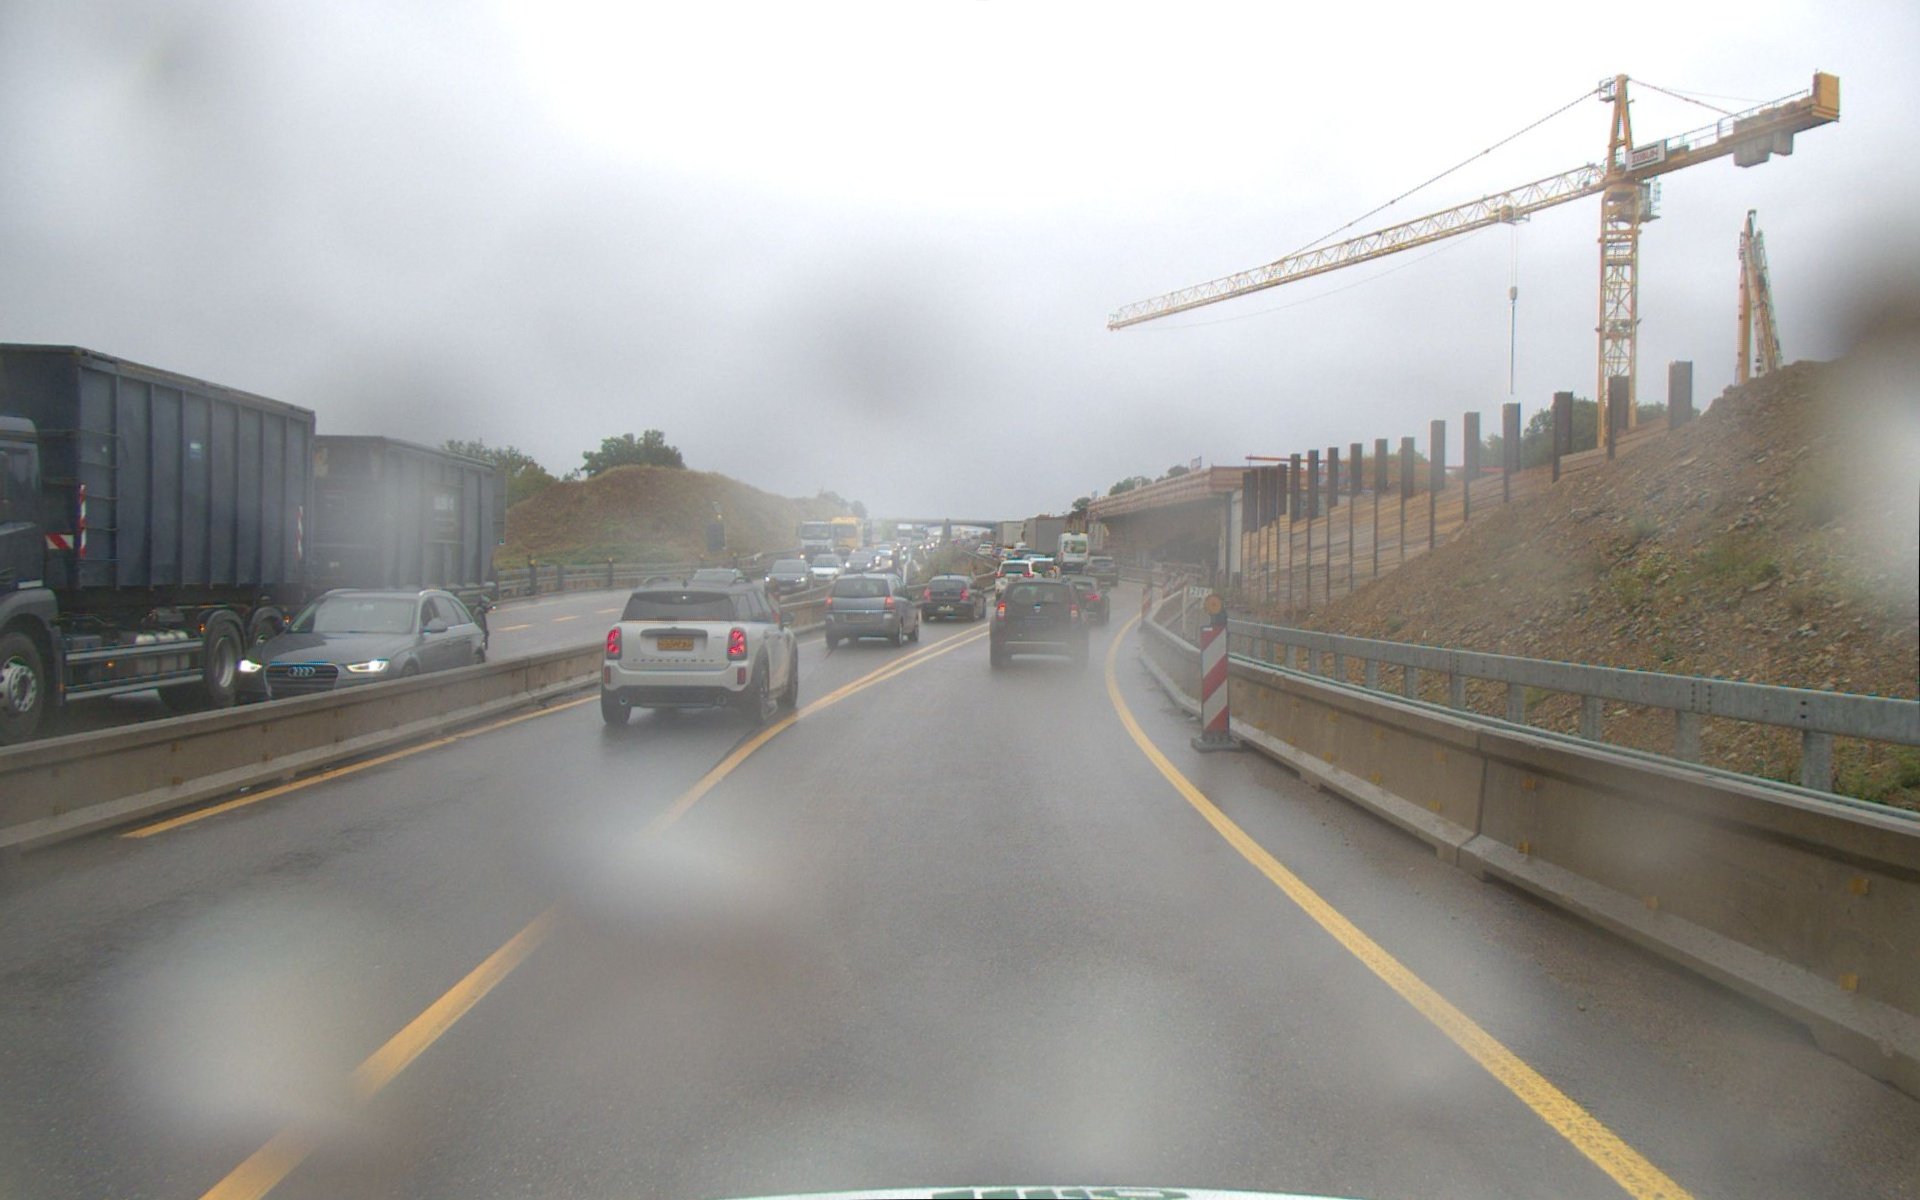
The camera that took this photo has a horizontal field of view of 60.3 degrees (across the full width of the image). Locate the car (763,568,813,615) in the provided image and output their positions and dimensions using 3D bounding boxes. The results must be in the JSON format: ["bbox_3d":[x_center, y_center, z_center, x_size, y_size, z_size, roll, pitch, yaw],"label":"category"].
[{"bbox_3d":[-7.373,-0.326,71.290,1.749,1.841,4.498,0,-2,-1],"label":"car"}]

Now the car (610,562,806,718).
[{"bbox_3d":[-2.844,0.473,19.525,1.779,1.628,4.305,0,-1,-2],"label":"car"}]

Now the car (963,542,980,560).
[{"bbox_3d":[1.417,-6.038,204.829,1.953,2.049,3.999,0,0,-1],"label":"car"}]

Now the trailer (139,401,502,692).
[{"bbox_3d":[-10.284,-0.793,27.980,2.691,4.039,9.670,0,1,-2],"label":"trailer"}]

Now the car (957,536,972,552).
[{"bbox_3d":[0.624,-7.833,232.301,1.953,2.049,3.999,0,0,-1],"label":"car"}]

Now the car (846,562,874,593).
[{"bbox_3d":[-6.453,-1.449,106.791,1.589,1.842,3.636,0,-2,0],"label":"car"}]

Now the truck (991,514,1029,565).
[{"bbox_3d":[5.895,-7.112,196.764,3.727,5.131,12.915,0,-2,-2],"label":"truck"}]

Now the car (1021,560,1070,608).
[{"bbox_3d":[4.316,-0.774,83.176,1.951,2.201,4.143,0,-2,10],"label":"car"}]

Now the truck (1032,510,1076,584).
[{"bbox_3d":[7.822,-4.249,136.423,3.035,5.522,9.448,0,-2,6],"label":"truck"}]

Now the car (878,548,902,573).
[{"bbox_3d":[-6.994,-3.991,166.612,2.192,2.400,4.876,1,0,0],"label":"car"}]

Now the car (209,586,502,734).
[{"bbox_3d":[-6.832,0.608,19.255,1.831,1.497,4.669,0,0,-2],"label":"car"}]

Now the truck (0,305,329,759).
[{"bbox_3d":[-9.979,-0.652,18.511,2.588,4.039,9.209,0,1,-2],"label":"truck"}]

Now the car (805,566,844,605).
[{"bbox_3d":[-7.075,-0.726,86.743,1.749,1.841,4.498,0,-2,-1],"label":"car"}]

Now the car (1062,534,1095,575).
[{"bbox_3d":[8.263,-3.163,115.424,1.952,2.528,4.981,0,-2,0],"label":"car"}]

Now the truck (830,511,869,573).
[{"bbox_3d":[-10.343,-5.375,155.837,3.077,5.512,8.522,1,0,0],"label":"truck"}]

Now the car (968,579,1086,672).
[{"bbox_3d":[1.192,0.518,31.365,2.039,1.628,4.139,0,-2,0],"label":"car"}]

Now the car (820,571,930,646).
[{"bbox_3d":[-1.913,0.243,38.542,1.951,1.628,4.142,0,-2,5],"label":"car"}]

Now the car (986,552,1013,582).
[{"bbox_3d":[3.236,-2.660,134.247,1.951,2.201,4.142,0,-2,4],"label":"car"}]

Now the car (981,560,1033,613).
[{"bbox_3d":[1.969,-0.543,70.182,1.953,2.049,3.891,0,-2,-2],"label":"car"}]

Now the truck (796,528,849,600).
[{"bbox_3d":[-9.930,-2.524,120.249,3.020,5.005,8.563,1,0,0],"label":"truck"}]

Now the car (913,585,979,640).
[{"bbox_3d":[-0.496,0.440,52.727,1.953,1.628,4.138,0,-2,-2],"label":"car"}]

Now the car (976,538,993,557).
[{"bbox_3d":[2.782,-5.907,186.544,1.811,1.927,4.020,0,-2,0],"label":"car"}]

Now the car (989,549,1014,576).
[{"bbox_3d":[3.681,-3.314,146.756,1.953,2.201,4.138,0,-2,-2],"label":"car"}]

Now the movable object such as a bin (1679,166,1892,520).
[{"bbox_3d":[30.062,-8.888,60.960,4.617,11.033,10.310,0,-2,13],"label":"movable object such as a bin"}]

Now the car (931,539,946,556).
[{"bbox_3d":[-2.937,-7.221,227.780,1.953,2.049,3.998,0,-2,-2],"label":"car"}]

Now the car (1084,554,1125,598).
[{"bbox_3d":[7.898,-1.291,90.903,1.952,2.201,4.140,0,-2,1],"label":"car"}]

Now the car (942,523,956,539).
[{"bbox_3d":[-1.672,-10.049,241.898,1.953,2.049,3.998,0,-2,-2],"label":"car"}]
